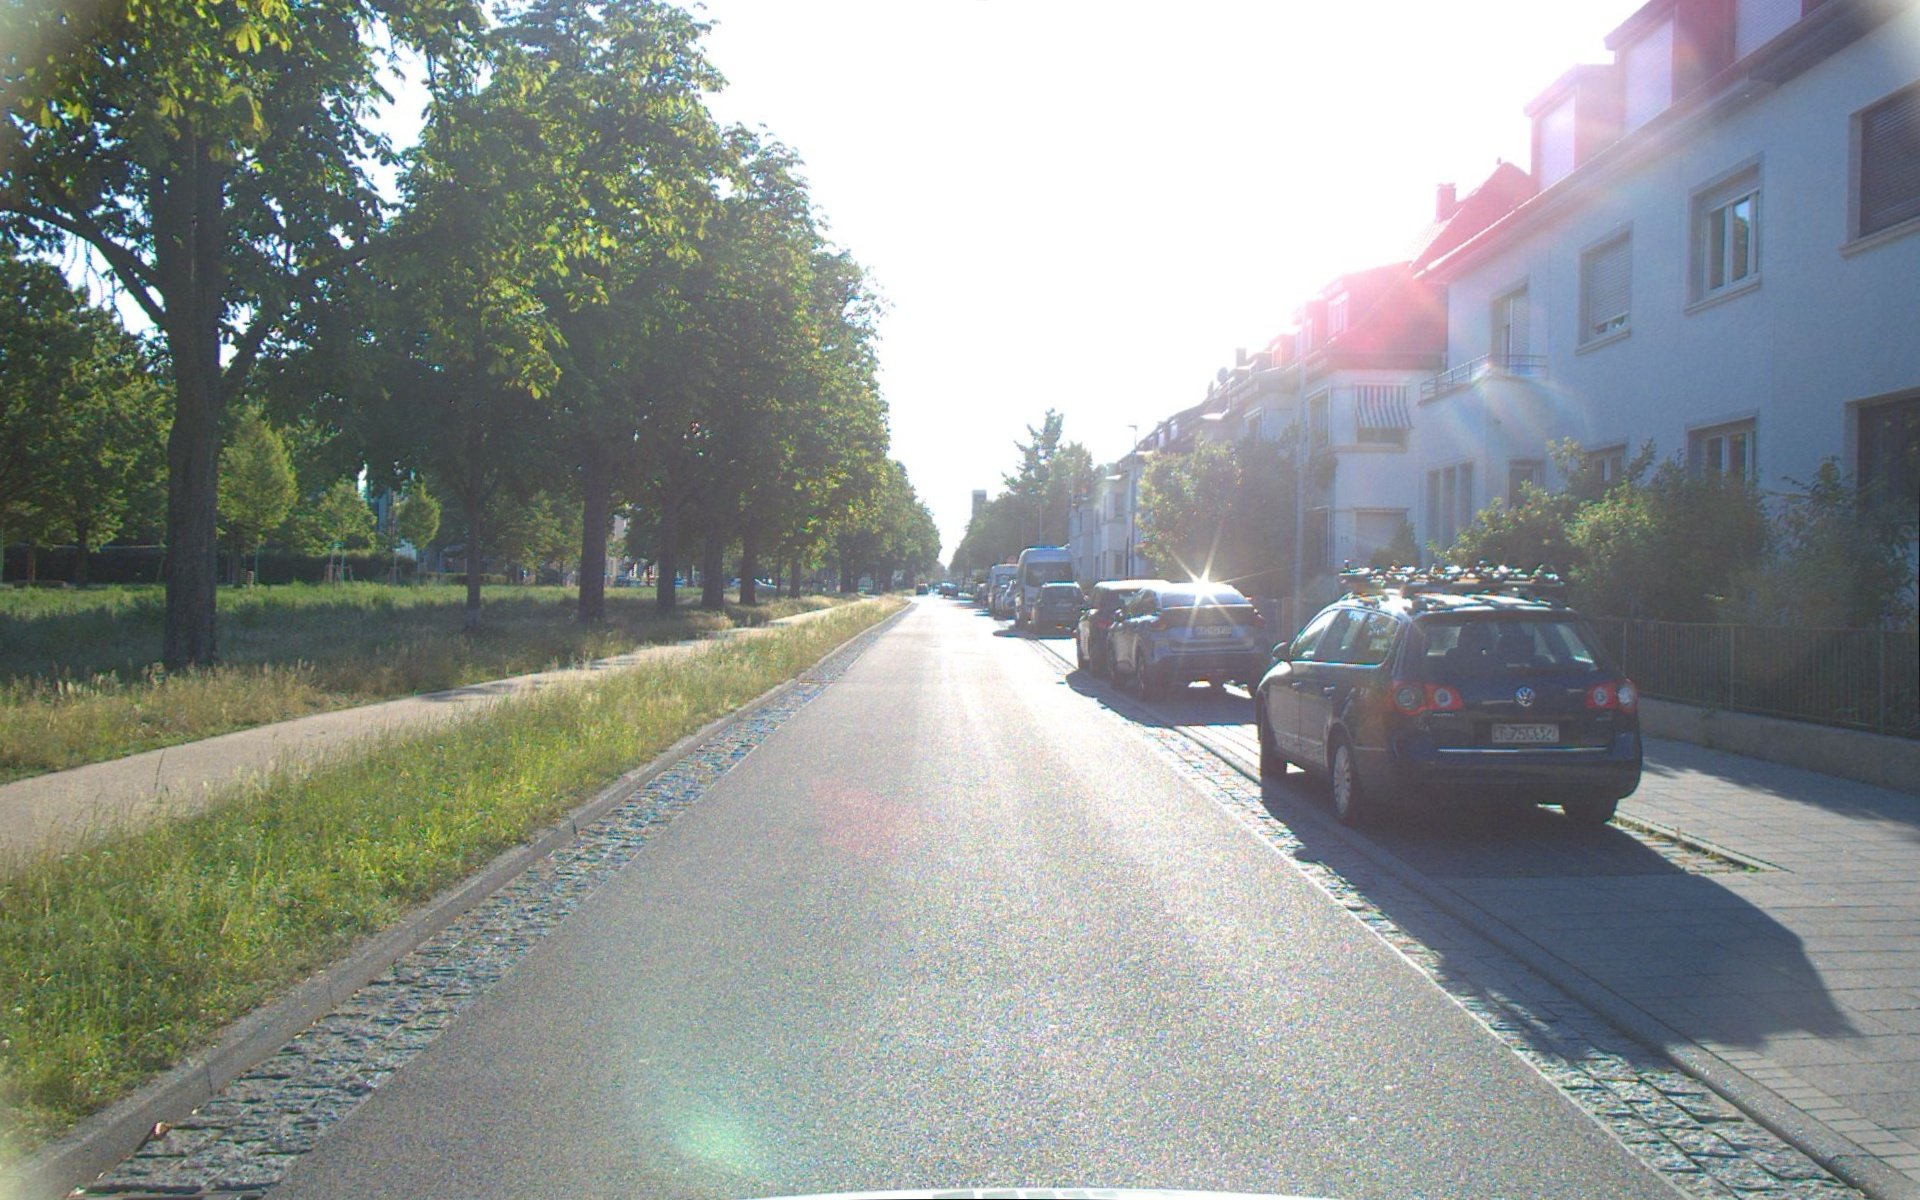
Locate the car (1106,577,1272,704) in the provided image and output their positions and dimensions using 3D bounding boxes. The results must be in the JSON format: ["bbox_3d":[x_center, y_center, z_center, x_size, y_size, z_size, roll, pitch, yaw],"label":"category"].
[{"bbox_3d":[3.172,0.498,23.657,1.683,1.601,4.210,-2,1,-1],"label":"car"}]

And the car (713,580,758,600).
[{"bbox_3d":[-21.641,-0.996,159.378,4.266,1.795,1.996,2,0,-9],"label":"car"}]

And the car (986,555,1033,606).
[{"bbox_3d":[2.564,-1.055,86.919,2.084,2.577,5.186,-1,1,-2],"label":"car"}]

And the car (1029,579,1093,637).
[{"bbox_3d":[3.045,0.208,50.283,1.630,1.620,4.086,-2,1,0],"label":"car"}]

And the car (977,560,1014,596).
[{"bbox_3d":[2.120,-1.344,100.236,2.083,2.103,5.188,-1,1,0],"label":"car"}]

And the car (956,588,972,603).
[{"bbox_3d":[0.470,-0.488,174.561,1.616,1.557,3.851,-1,1,1],"label":"car"}]

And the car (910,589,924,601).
[{"bbox_3d":[-5.943,-0.709,229.583,1.825,1.625,3.869,2,0,-1],"label":"car"}]

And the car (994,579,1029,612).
[{"bbox_3d":[2.492,-0.236,80.853,1.616,1.557,3.851,-1,1,1],"label":"car"}]

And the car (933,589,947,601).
[{"bbox_3d":[-2.689,-0.700,224.409,1.825,1.625,3.869,2,0,-1],"label":"car"}]

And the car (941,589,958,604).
[{"bbox_3d":[-1.245,-0.431,193.075,1.825,1.625,3.893,2,0,-1],"label":"car"}]

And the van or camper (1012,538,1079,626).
[{"bbox_3d":[2.875,-0.594,56.786,1.904,2.826,5.939,2,0,0],"label":"van or camper"}]

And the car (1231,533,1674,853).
[{"bbox_3d":[3.227,0.492,11.829,1.757,1.802,4.472,-2,1,-1],"label":"car"}]

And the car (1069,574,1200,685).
[{"bbox_3d":[3.020,0.462,29.489,1.795,1.714,4.415,2,1,0],"label":"car"}]

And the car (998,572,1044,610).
[{"bbox_3d":[2.737,-0.452,75.474,1.800,1.664,4.130,-1,1,-2],"label":"car"}]
